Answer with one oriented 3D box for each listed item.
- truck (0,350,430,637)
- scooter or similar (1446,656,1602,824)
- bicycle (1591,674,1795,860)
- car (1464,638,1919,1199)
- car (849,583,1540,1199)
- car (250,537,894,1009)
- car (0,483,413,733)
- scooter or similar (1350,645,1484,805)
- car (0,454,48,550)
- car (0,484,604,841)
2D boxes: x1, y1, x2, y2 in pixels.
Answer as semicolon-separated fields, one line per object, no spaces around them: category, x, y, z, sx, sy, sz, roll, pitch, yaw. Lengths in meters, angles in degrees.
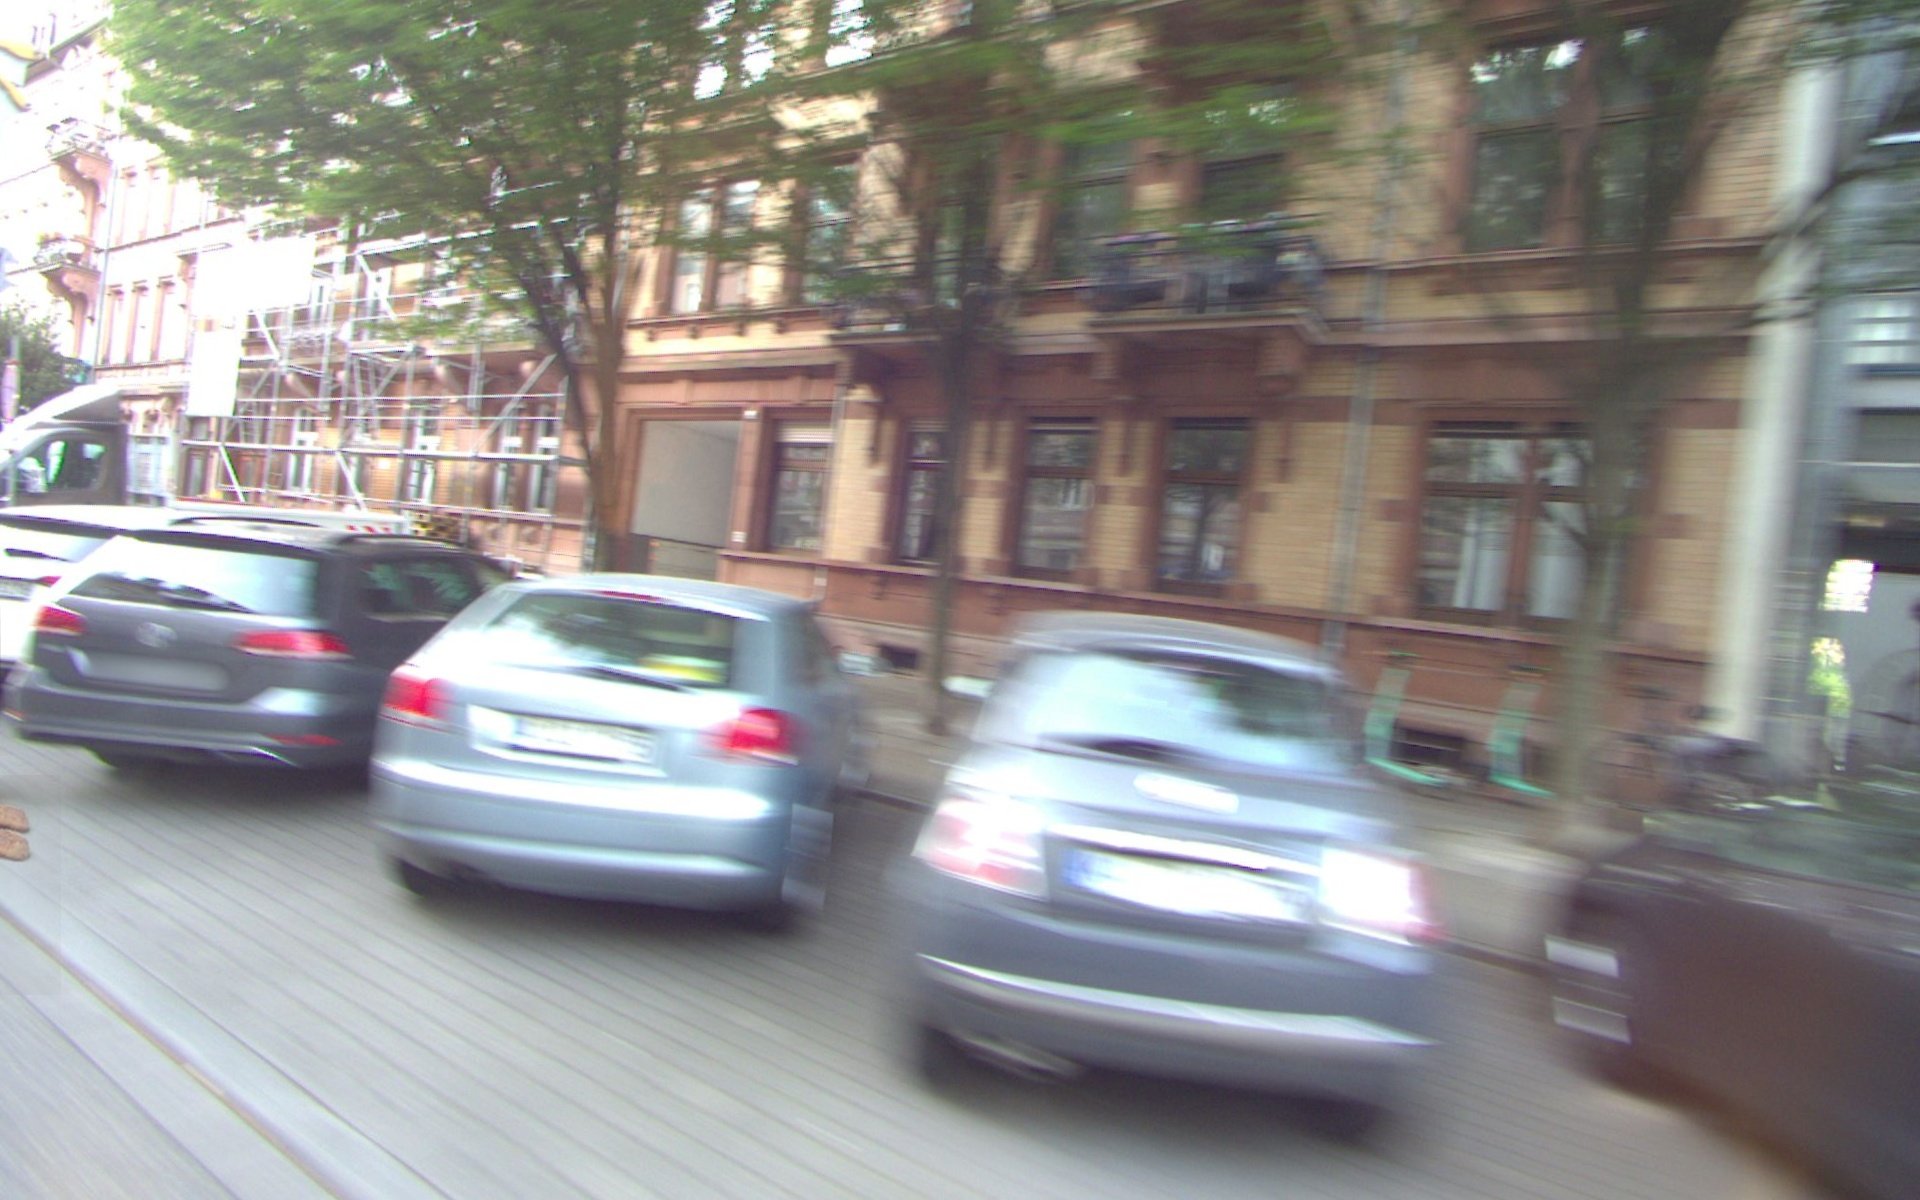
truck;-11.758;-1.393;14.623;2.485;3.111;6.487;6;-2;36
scooter or similar;4.901;1.188;8.792;0.326;1.296;1.059;7;-1;-28
bicycle;6.094;1.318;8.513;0.569;1.180;2.022;7;2;15
car;3.186;1.068;2.691;1.619;1.537;3.797;6;1;0
car;0.730;0.791;4.411;1.594;1.537;3.630;7;1;5
car;-1.474;0.567;5.287;1.797;1.439;3.629;6;1;1
car;-6.469;-0.048;8.318;1.654;1.508;3.991;6;1;-1
scooter or similar;4.106;1.095;9.098;0.325;1.296;1.061;7;-1;-20
car;-22.130;-2.285;20.276;1.867;1.981;5.175;8;2;32
car;-3.995;0.235;6.760;1.798;1.508;4.165;6;1;-3
